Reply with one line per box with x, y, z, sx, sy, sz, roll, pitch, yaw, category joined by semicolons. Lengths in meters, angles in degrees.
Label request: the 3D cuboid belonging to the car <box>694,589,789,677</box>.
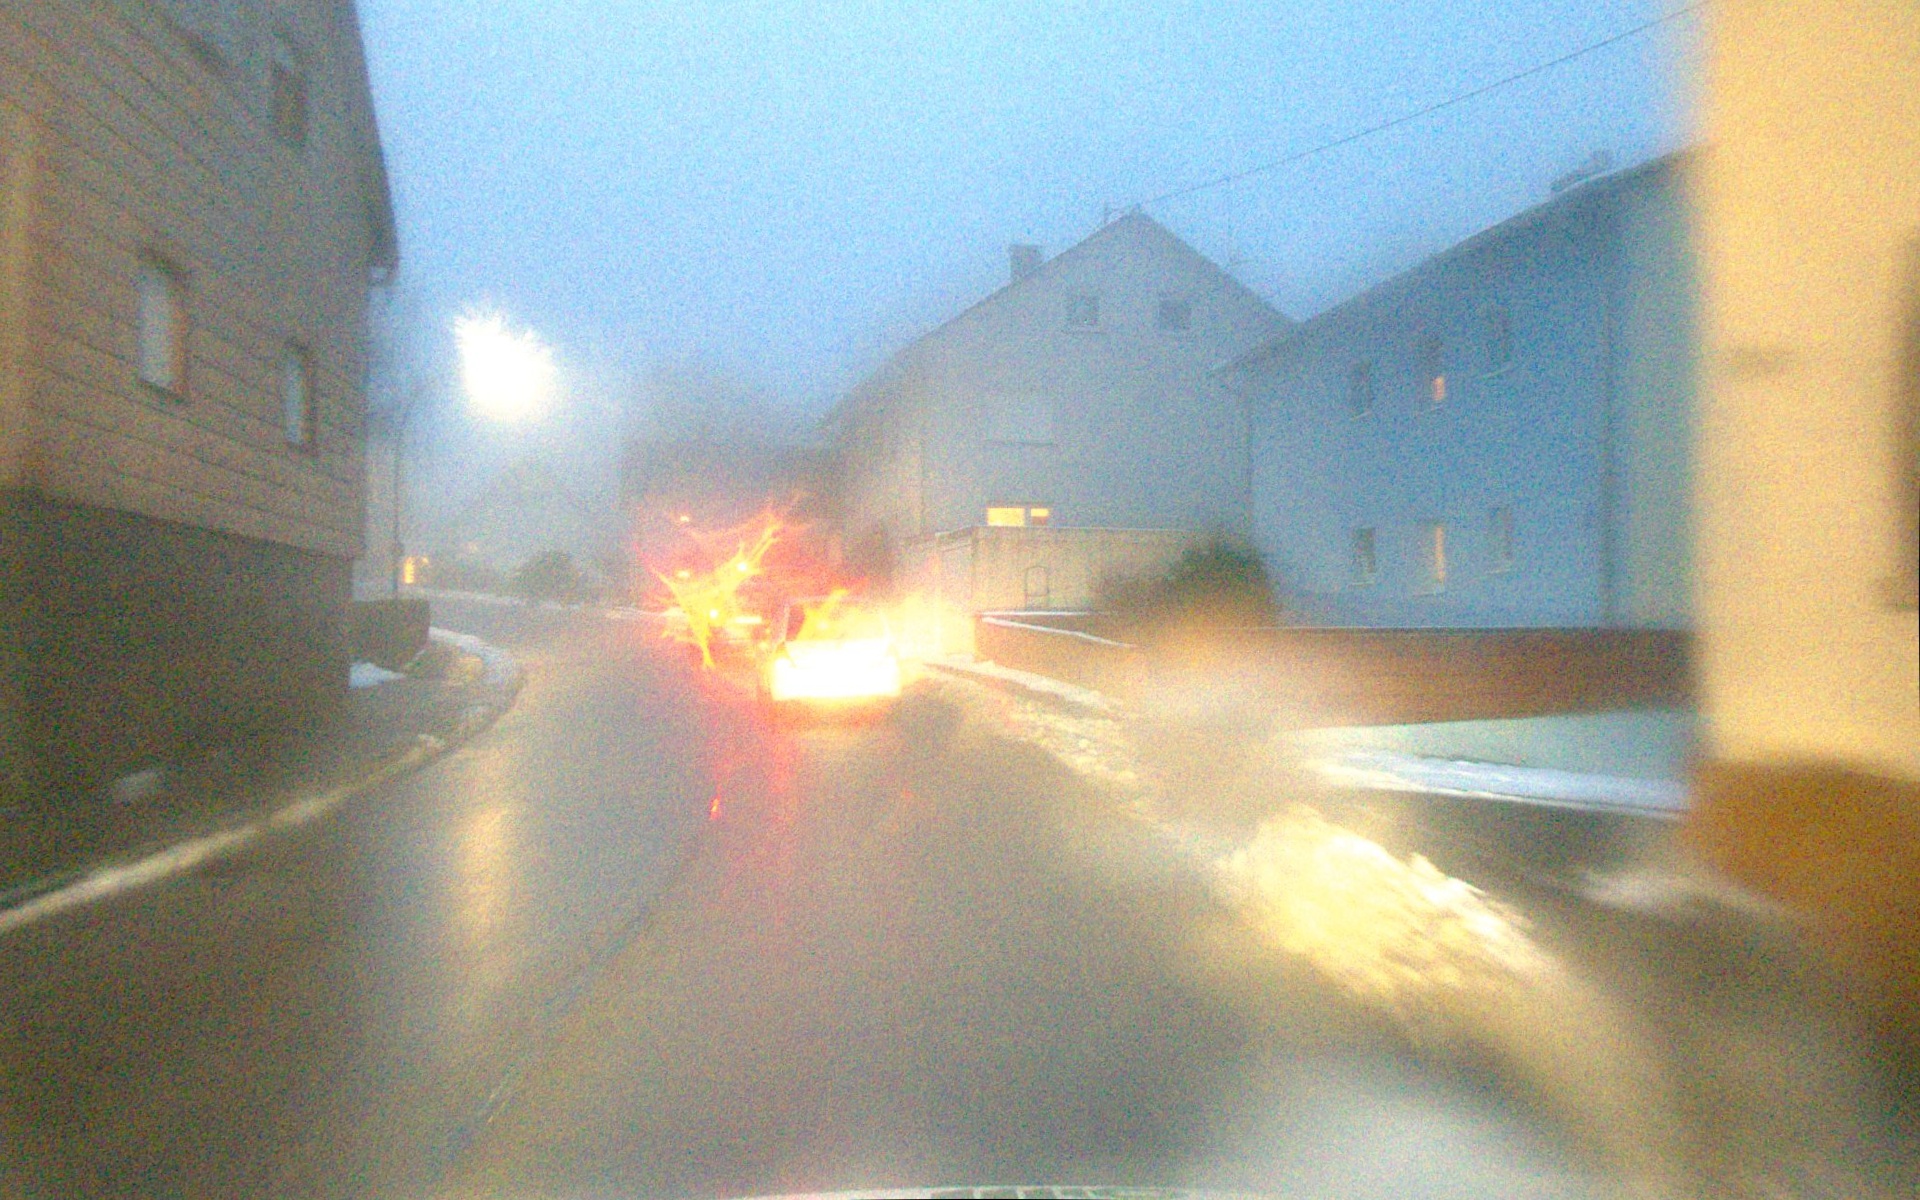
-4.485;0.681;33.598;1.616;1.624;3.688;2;-2;-11;car

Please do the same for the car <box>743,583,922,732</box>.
-1.655;0.691;20.396;1.617;1.624;3.686;3;-2;-13;car
